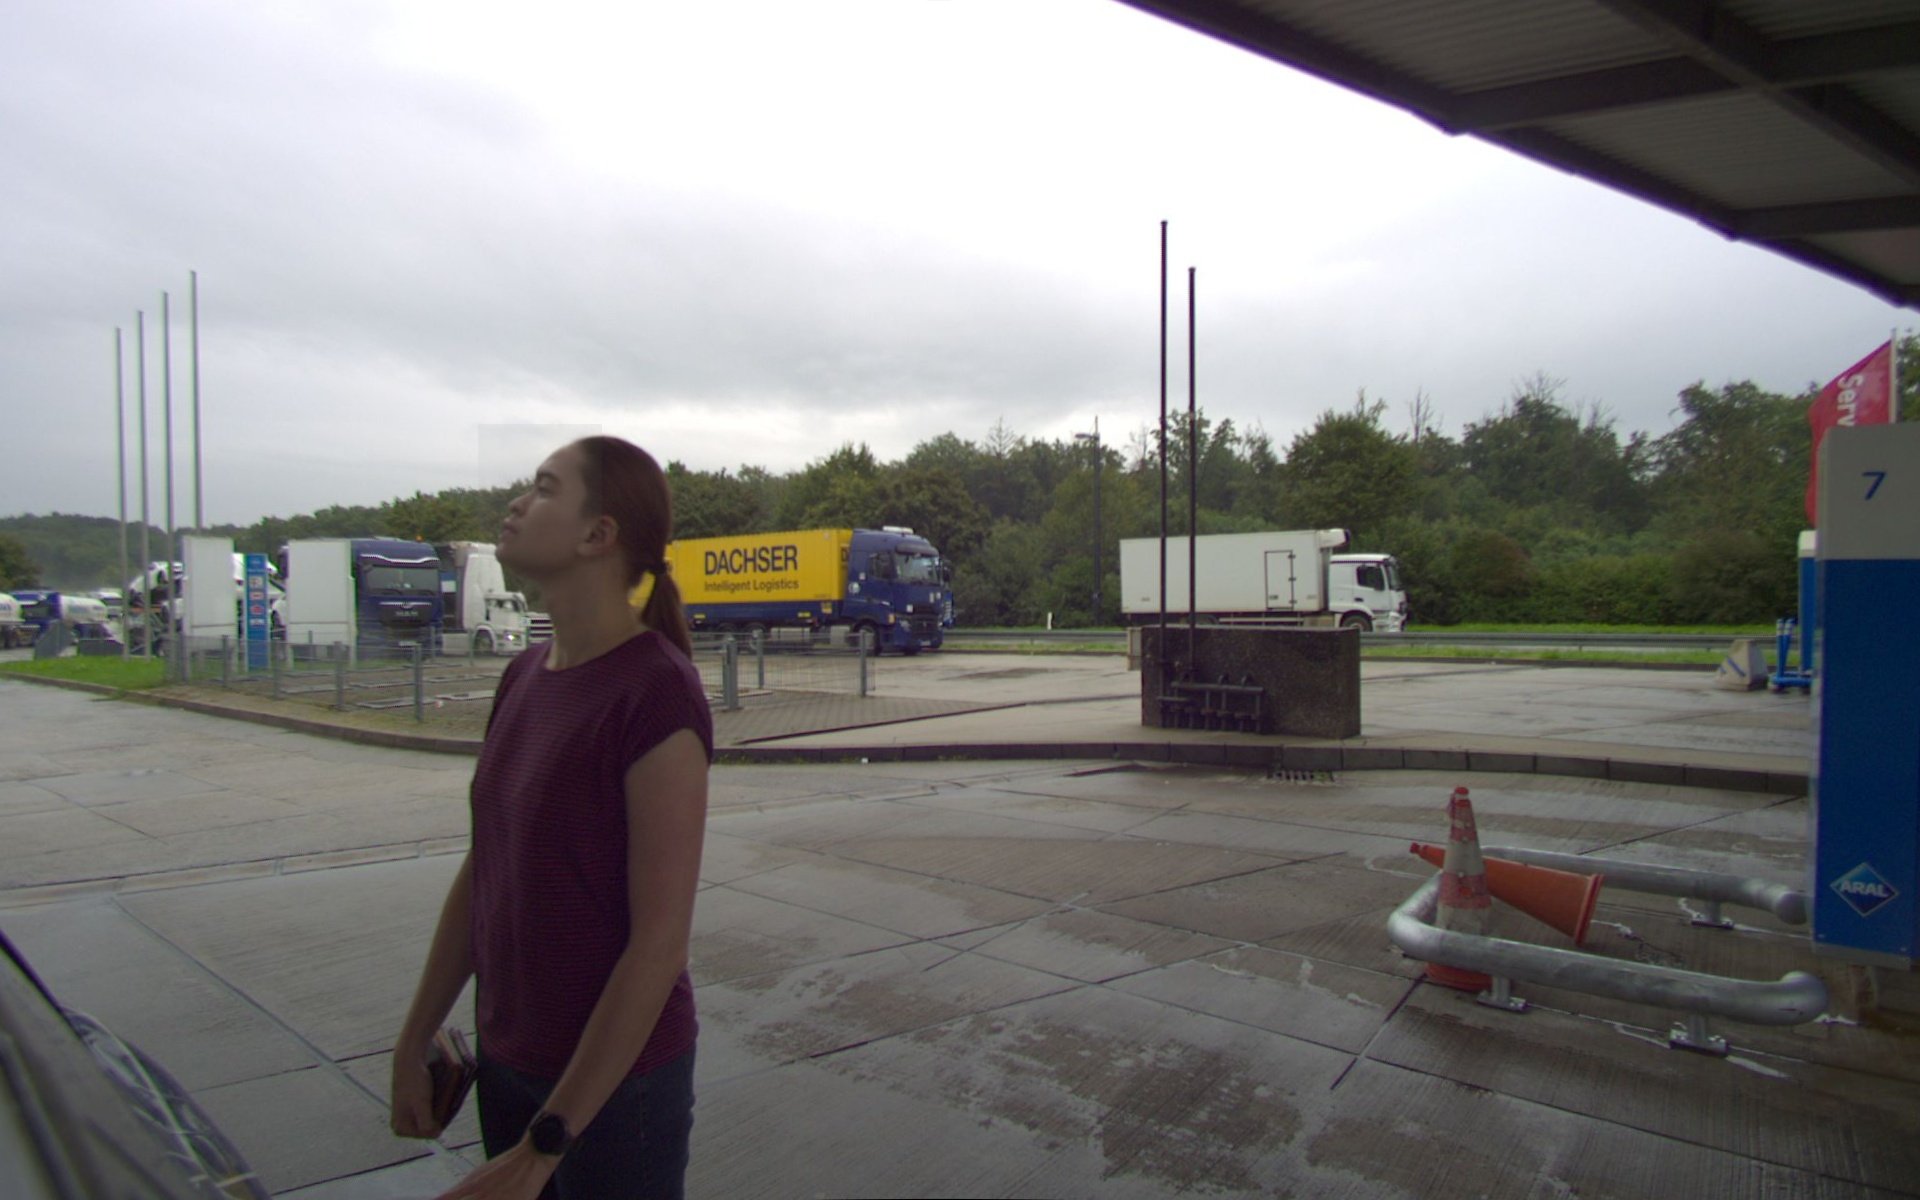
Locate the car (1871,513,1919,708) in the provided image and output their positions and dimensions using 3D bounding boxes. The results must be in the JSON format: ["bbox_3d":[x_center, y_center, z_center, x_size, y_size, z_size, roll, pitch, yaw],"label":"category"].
[{"bbox_3d":[14.872,0.109,12.392,5.272,2.482,2.298,-1,-2,37],"label":"car"}]

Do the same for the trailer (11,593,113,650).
[{"bbox_3d":[-62.279,1.425,70.483,2.854,3.666,10.605,-1,0,-28],"label":"trailer"}]

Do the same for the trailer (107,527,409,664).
[{"bbox_3d":[-25.425,-0.062,35.927,16.563,4.063,2.957,-1,0,34],"label":"trailer"}]

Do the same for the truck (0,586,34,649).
[{"bbox_3d":[-55.567,1.010,55.017,3.196,3.591,12.013,-1,0,-19],"label":"truck"}]

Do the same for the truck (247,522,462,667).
[{"bbox_3d":[-19.001,-0.119,31.624,7.244,4.063,2.957,-1,0,34],"label":"truck"}]

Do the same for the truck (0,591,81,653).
[{"bbox_3d":[-59.434,1.362,64.996,3.000,3.795,6.486,-1,0,-27],"label":"truck"}]

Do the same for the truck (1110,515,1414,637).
[{"bbox_3d":[11.053,-0.741,37.682,10.433,4.063,2.961,-1,0,30],"label":"truck"}]

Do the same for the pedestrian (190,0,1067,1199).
[{"bbox_3d":[-0.425,0.325,1.347,0.839,1.747,0.786,-1,-1,40],"label":"pedestrian"}]

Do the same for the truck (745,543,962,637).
[{"bbox_3d":[-5.149,-0.382,47.693,10.433,4.063,2.961,-1,0,30],"label":"truck"}]

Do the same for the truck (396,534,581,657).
[{"bbox_3d":[-17.167,-0.124,36.699,6.721,4.063,2.958,-1,0,33],"label":"truck"}]

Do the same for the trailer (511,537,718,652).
[{"bbox_3d":[-13.555,-0.172,39.291,8.833,4.063,2.743,-1,0,33],"label":"trailer"}]

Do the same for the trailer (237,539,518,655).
[{"bbox_3d":[-23.326,-0.045,40.025,13.747,4.063,2.962,-1,0,29],"label":"trailer"}]

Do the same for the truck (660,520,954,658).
[{"bbox_3d":[-5.399,-0.276,33.958,10.608,4.063,2.743,-1,0,33],"label":"truck"}]

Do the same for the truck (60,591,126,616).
[{"bbox_3d":[-129.751,0.612,151.398,16.515,3.591,3.215,-1,0,34],"label":"truck"}]

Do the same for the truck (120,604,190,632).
[{"bbox_3d":[-109.903,2.497,138.078,14.626,3.591,3.215,-1,-1,34],"label":"truck"}]
